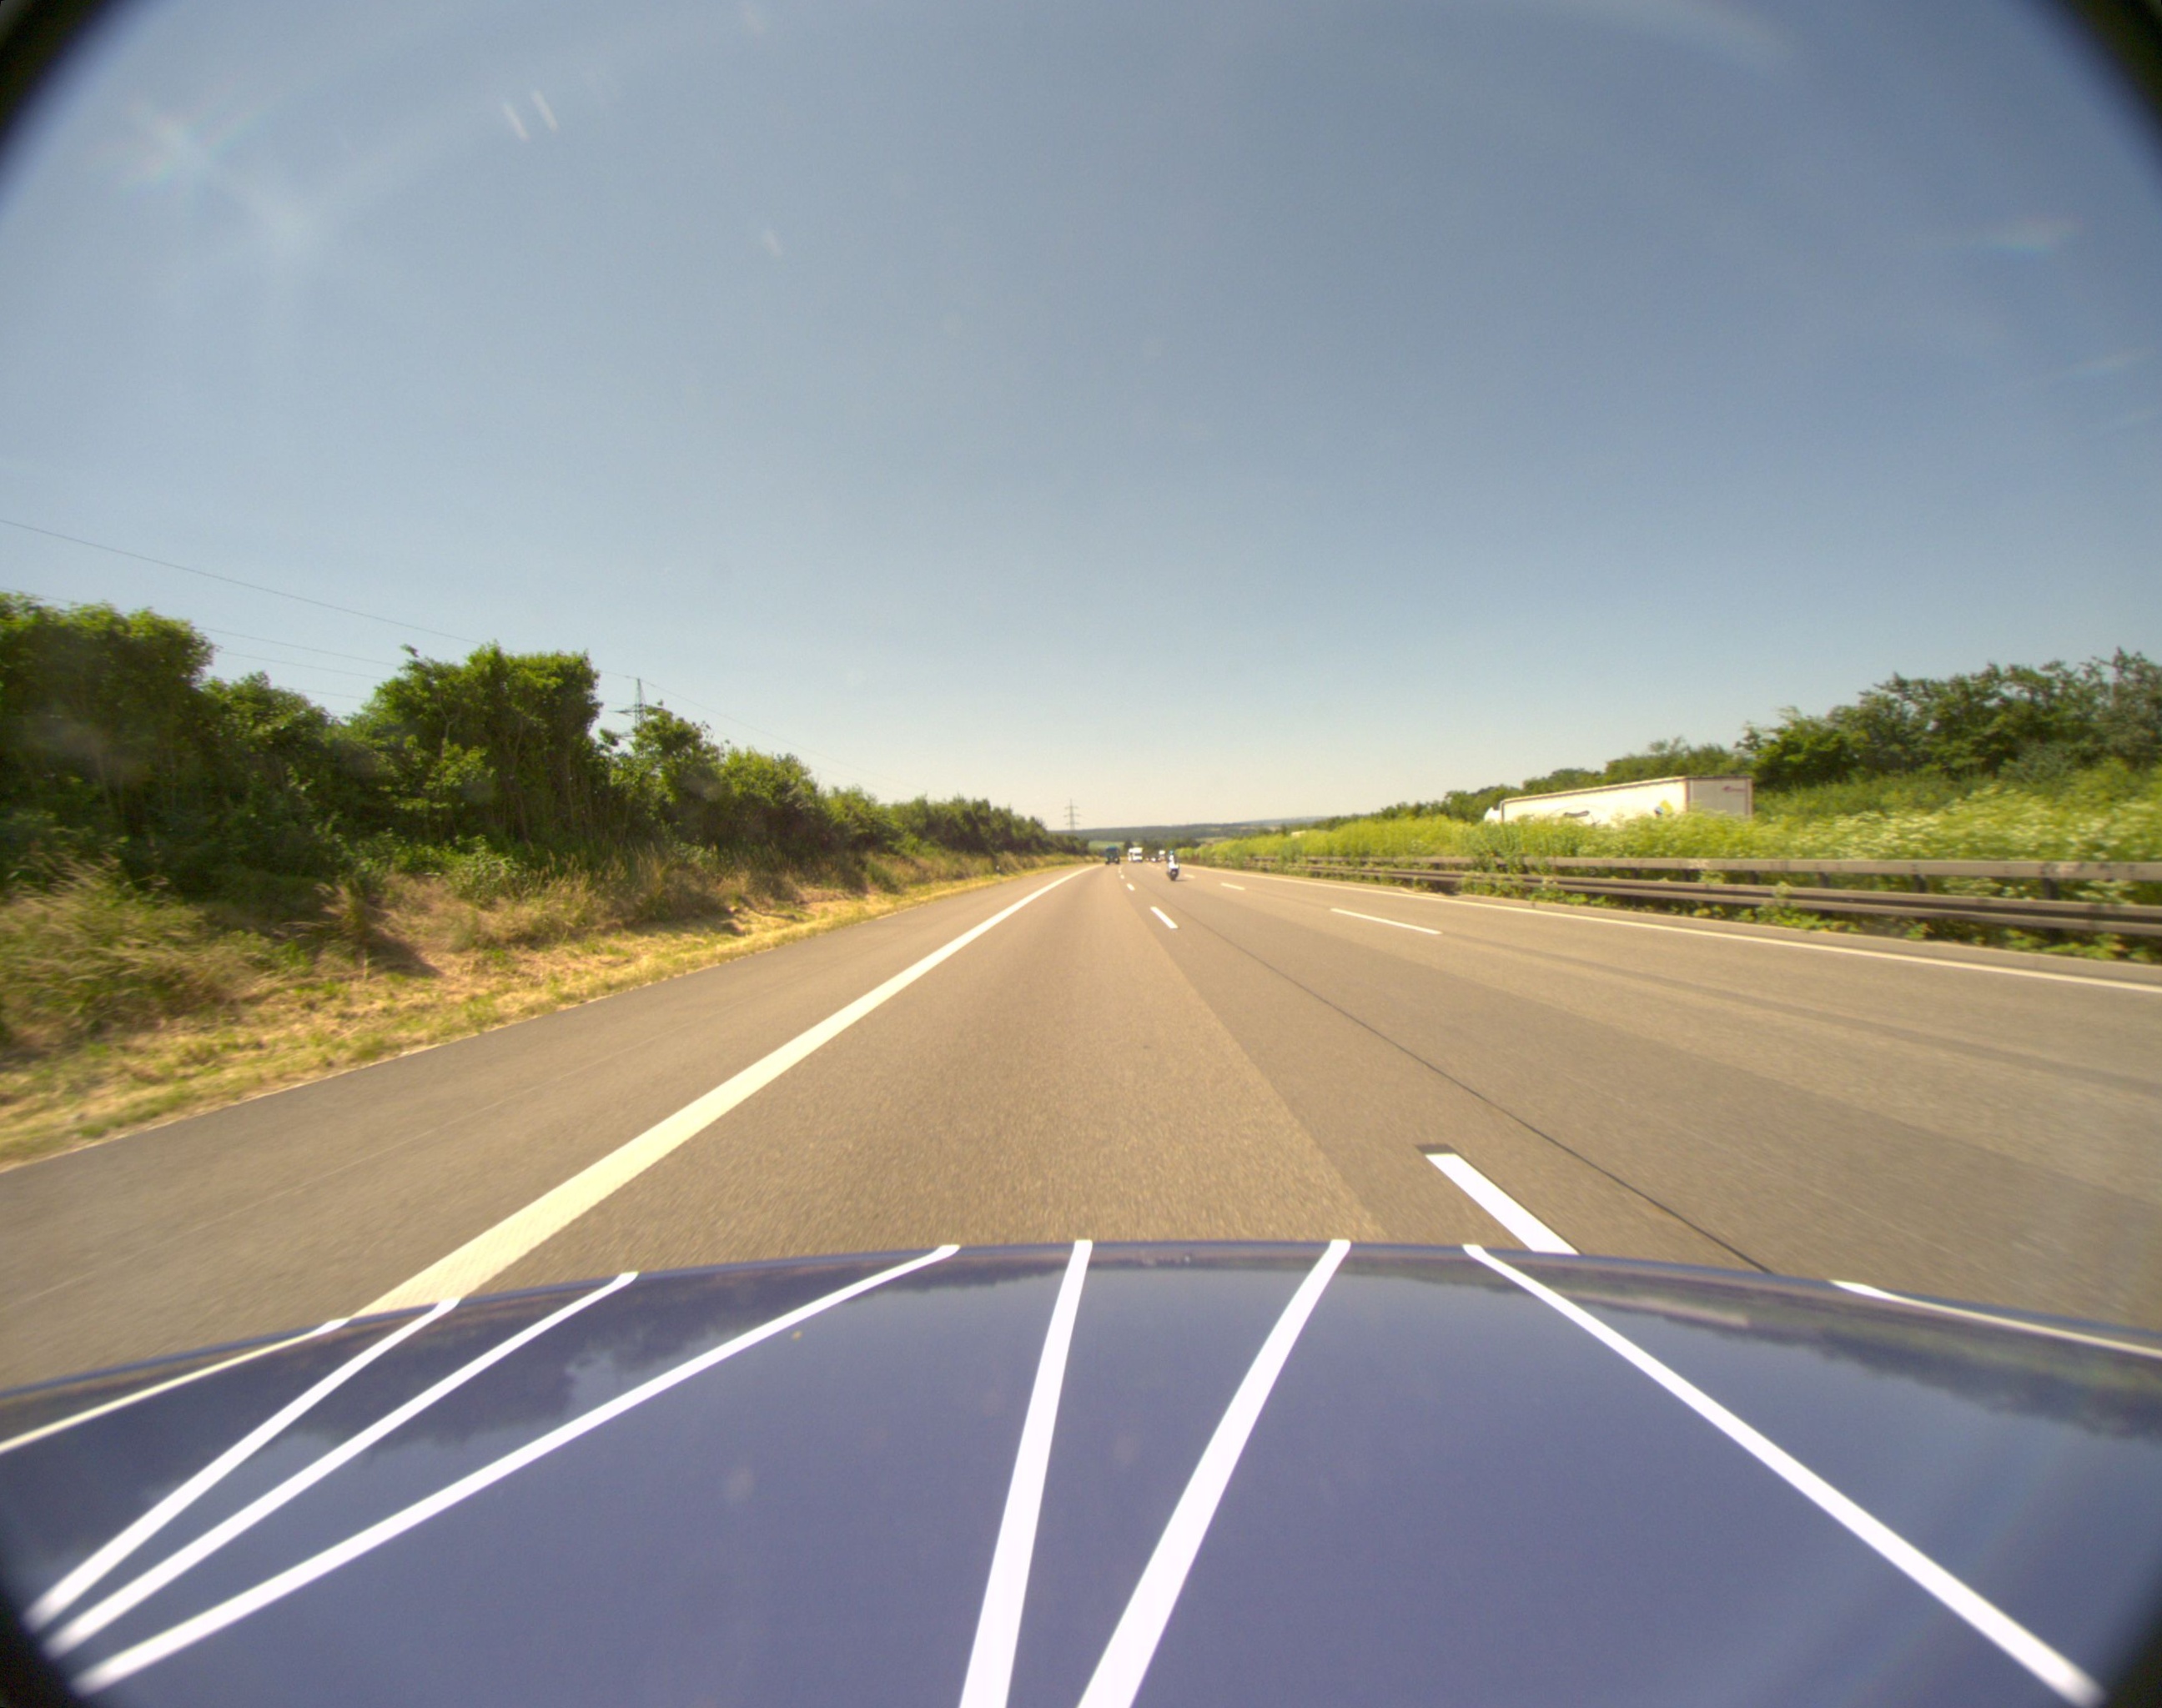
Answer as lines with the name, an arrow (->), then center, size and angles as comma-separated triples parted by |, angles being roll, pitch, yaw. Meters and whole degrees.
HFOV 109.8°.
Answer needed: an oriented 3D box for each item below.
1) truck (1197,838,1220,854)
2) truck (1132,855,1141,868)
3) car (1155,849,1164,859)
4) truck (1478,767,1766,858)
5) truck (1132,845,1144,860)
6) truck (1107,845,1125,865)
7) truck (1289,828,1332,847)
truck -> 31.894, -1.887, 190.985 | 3.237, 3.590, 18.535 | -4, 0, 3
truck -> 18.028, 2.559, 247.115 | 2.567, 4.129, 6.250 | -1, 0, 3
car -> 16.692, 0.020, 161.594 | 1.704, 1.958, 4.001 | -1, 0, 4
truck -> 25.647, -1.597, 38.254 | 2.812, 3.527, 16.838 | 0, 0, 1
truck -> 13.016, -0.278, 173.331 | 2.512, 3.268, 8.109 | -1, 0, 3
truck -> 6.945, 0.287, 148.930 | 2.871, 3.701, 12.769 | -1, 0, 6
truck -> 28.317, -2.023, 94.196 | 2.659, 2.002, 9.859 | -1, 0, 2
